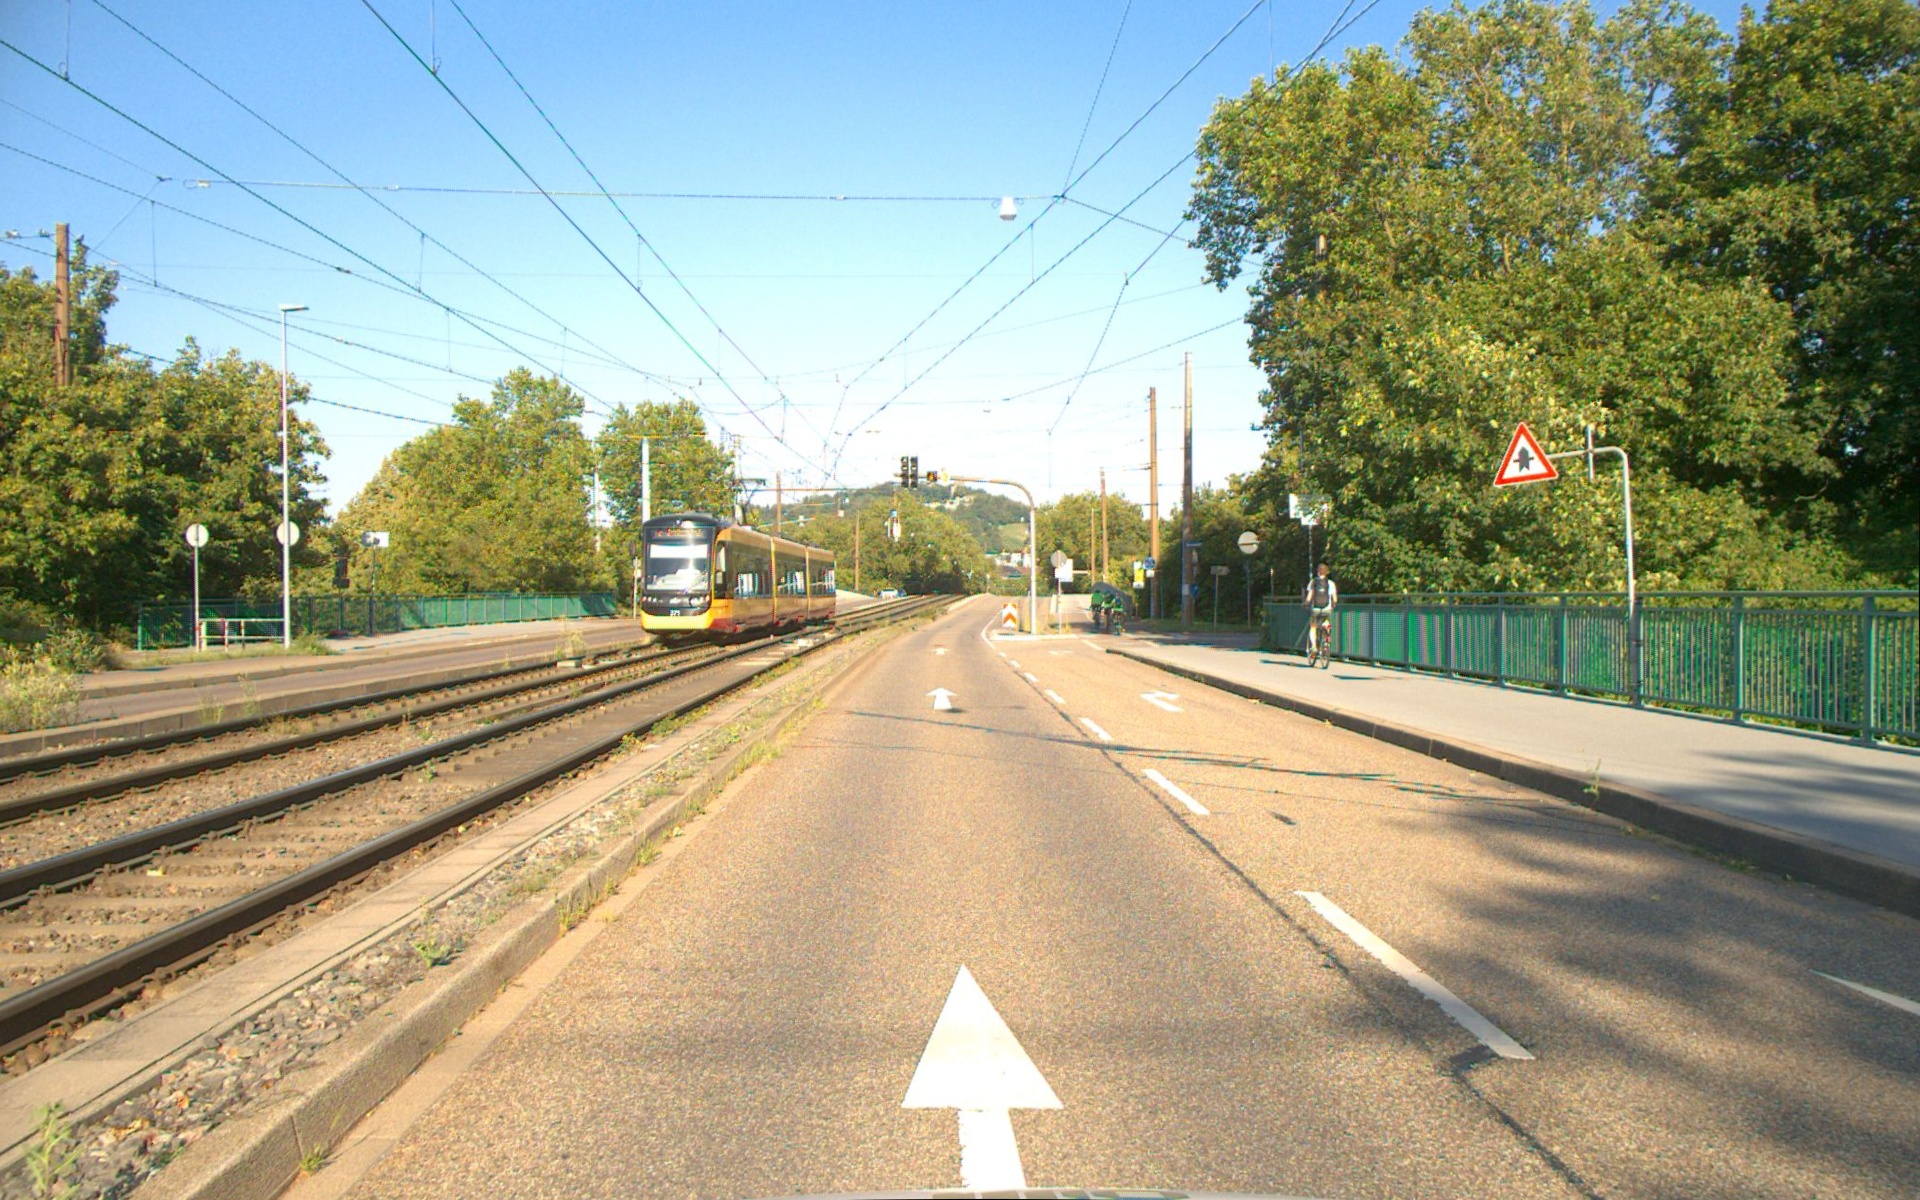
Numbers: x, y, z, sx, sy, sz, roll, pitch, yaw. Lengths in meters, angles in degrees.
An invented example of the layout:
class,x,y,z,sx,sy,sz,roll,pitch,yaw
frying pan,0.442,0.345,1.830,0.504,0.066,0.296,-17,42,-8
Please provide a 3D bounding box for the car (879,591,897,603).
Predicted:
class,x,y,z,sx,sy,sz,roll,pitch,yaw
car,-8.336,-0.383,192.027,1.649,1.380,4.922,0,0,3

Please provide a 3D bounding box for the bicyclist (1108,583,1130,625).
class,x,y,z,sx,sy,sz,roll,pitch,yaw
bicyclist,6.115,0.141,63.805,0.795,1.589,0.897,0,1,3

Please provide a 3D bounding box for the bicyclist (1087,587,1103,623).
class,x,y,z,sx,sy,sz,roll,pitch,yaw
bicyclist,5.868,0.202,71.789,0.612,1.534,1.006,0,0,-1

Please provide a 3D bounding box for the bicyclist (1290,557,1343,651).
class,x,y,z,sx,sy,sz,roll,pitch,yaw
bicyclist,6.639,0.077,30.823,0.716,1.719,1.202,0,0,-1

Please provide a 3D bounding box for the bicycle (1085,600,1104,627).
class,x,y,z,sx,sy,sz,roll,pitch,yaw
bicycle,5.861,0.582,71.994,0.612,1.142,2.259,0,1,-1

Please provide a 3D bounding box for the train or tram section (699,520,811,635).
class,x,y,z,sx,sy,sz,roll,pitch,yaw
train or tram section,-7.640,-0.816,63.239,2.915,3.969,11.663,0,0,-1

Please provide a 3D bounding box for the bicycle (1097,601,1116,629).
class,x,y,z,sx,sy,sz,roll,pitch,yaw
bicycle,6.089,0.614,68.795,0.612,1.142,2.042,0,0,0

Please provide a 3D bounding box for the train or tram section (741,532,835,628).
class,x,y,z,sx,sy,sz,roll,pitch,yaw
train or tram section,-7.663,-0.866,75.406,2.917,3.969,12.701,0,0,0

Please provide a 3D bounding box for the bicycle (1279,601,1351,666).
class,x,y,z,sx,sy,sz,roll,pitch,yaw
bicycle,6.622,0.599,30.984,0.716,1.142,2.741,0,0,-1

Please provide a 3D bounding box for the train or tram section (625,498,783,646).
class,x,y,z,sx,sy,sz,roll,pitch,yaw
train or tram section,-7.567,-0.776,50.871,2.943,3.969,13.079,0,0,-1

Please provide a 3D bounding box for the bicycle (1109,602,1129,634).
class,x,y,z,sx,sy,sz,roll,pitch,yaw
bicycle,6.125,0.684,63.833,0.669,1.142,2.217,0,1,3

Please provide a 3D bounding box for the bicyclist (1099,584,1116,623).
class,x,y,z,sx,sy,sz,roll,pitch,yaw
bicyclist,6.127,0.149,68.754,0.612,1.620,0.931,0,0,0
